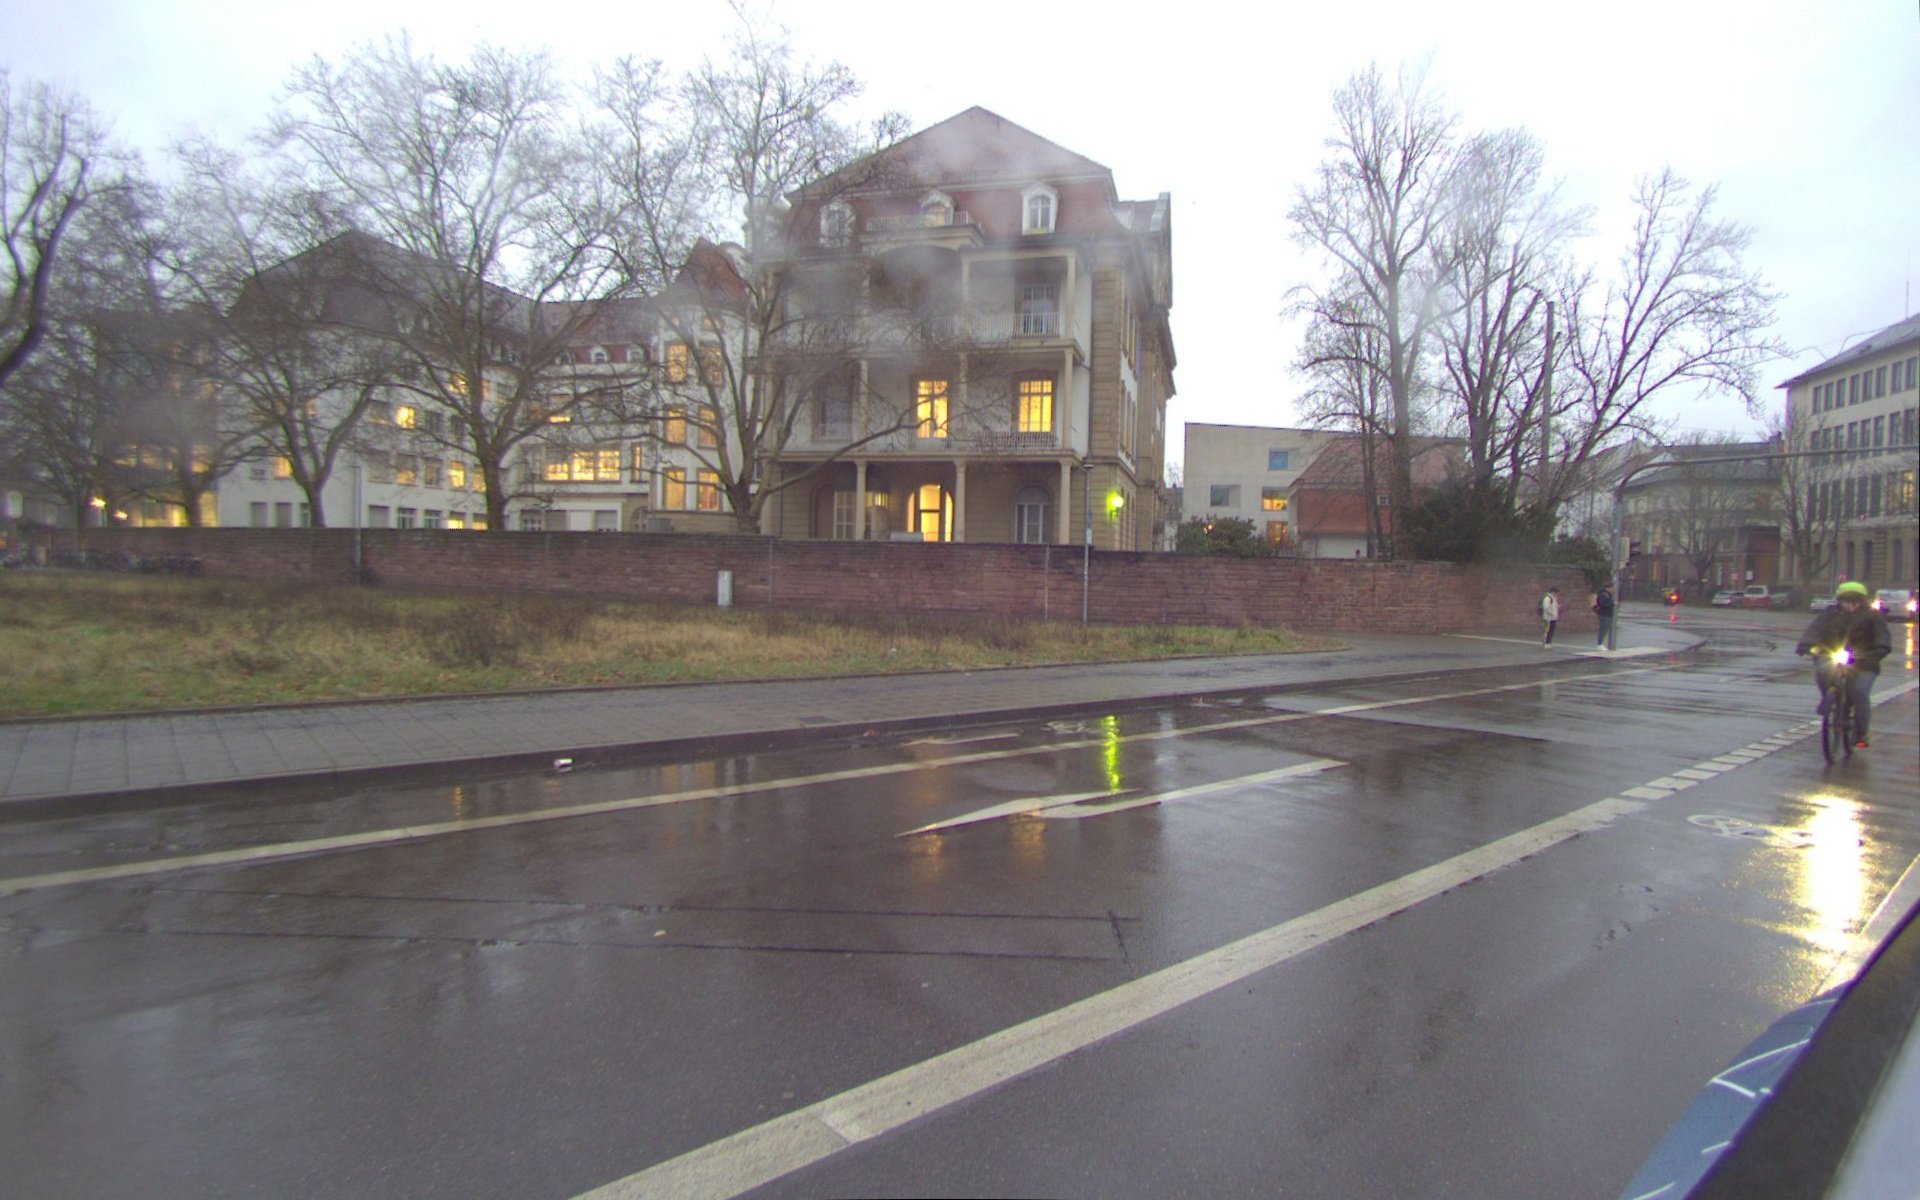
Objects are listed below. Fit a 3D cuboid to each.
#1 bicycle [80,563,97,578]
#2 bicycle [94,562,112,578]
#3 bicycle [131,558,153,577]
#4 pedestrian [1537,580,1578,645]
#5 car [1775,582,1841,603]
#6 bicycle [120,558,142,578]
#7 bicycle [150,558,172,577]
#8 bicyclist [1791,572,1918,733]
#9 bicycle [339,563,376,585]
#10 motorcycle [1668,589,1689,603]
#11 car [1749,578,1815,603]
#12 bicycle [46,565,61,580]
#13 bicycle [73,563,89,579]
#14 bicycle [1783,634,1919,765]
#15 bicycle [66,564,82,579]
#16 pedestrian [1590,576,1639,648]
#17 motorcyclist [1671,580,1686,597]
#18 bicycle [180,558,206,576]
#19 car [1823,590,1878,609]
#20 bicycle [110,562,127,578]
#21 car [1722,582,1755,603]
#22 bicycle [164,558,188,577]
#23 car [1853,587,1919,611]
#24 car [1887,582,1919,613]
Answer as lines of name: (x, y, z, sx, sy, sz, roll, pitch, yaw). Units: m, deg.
bicycle: (-45.435, -1.534, 52.745, 1.522, 0.796, 0.389, 0, 0, 38)
bicycle: (-43.124, -1.497, 50.901, 1.522, 0.796, 0.389, 0, 0, 38)
bicycle: (-38.620, -1.508, 47.772, 1.519, 0.869, 0.389, 0, 0, 33)
pedestrian: (16.665, 0.331, 28.235, 0.797, 1.744, 0.663, 4, 3, 44)
car: (64.706, -0.581, 77.231, 3.916, 1.570, 1.805, 0, 0, -13)
bicycle: (-39.902, -1.540, 48.726, 1.519, 0.928, 0.389, 0, 0, 33)
bicycle: (-37.024, -1.498, 46.890, 1.480, 0.849, 0.346, 0, 0, 32)
bicyclist: (8.756, 0.471, 9.903, 1.114, 1.471, 0.784, 0, 0, -41)
bicycle: (-23.378, -0.988, 39.276, 1.366, 0.835, 0.392, 0, 0, 14)
motorcycle: (59.682, -0.351, 84.085, 0.703, 1.067, 2.158, 3, 2, 15)
car: (64.988, -0.787, 80.028, 3.916, 1.924, 2.052, 0, 0, -13)
bicycle: (-51.602, -1.548, 57.597, 1.522, 0.796, 0.389, 0, 0, 38)
bicycle: (-46.666, -1.537, 53.724, 1.522, 0.796, 0.389, 0, 0, 38)
bicycle: (8.809, 0.916, 9.952, 1.923, 1.088, 0.784, -1, 0, -41)
bicycle: (-47.889, -1.540, 54.678, 1.522, 0.796, 0.389, 0, 0, 38)
pedestrian: (18.323, 0.321, 28.327, 0.996, 1.924, 0.664, 4, 3, 41)
motorcyclist: (59.738, -0.962, 84.199, 0.691, 1.400, 0.863, 2, 2, 15)
bicycle: (-34.203, -1.469, 45.115, 1.399, 0.796, 0.355, 0, 0, 26)
car: (63.609, -0.077, 72.305, 3.568, 1.322, 1.712, -1, 0, -25)
bicycle: (-41.467, -1.477, 49.881, 1.599, 0.796, 0.388, 0, 0, 41)
car: (66.487, -0.640, 86.393, 1.992, 1.690, 3.940, 0, 1, 42)
bicycle: (-35.544, -1.469, 45.864, 1.519, 0.796, 0.389, 0, 0, 33)
car: (61.969, -0.056, 67.011, 3.927, 1.570, 1.800, 0, 0, 4)
car: (57.646, -0.169, 61.180, 3.929, 1.868, 1.882, -1, 0, -40)
